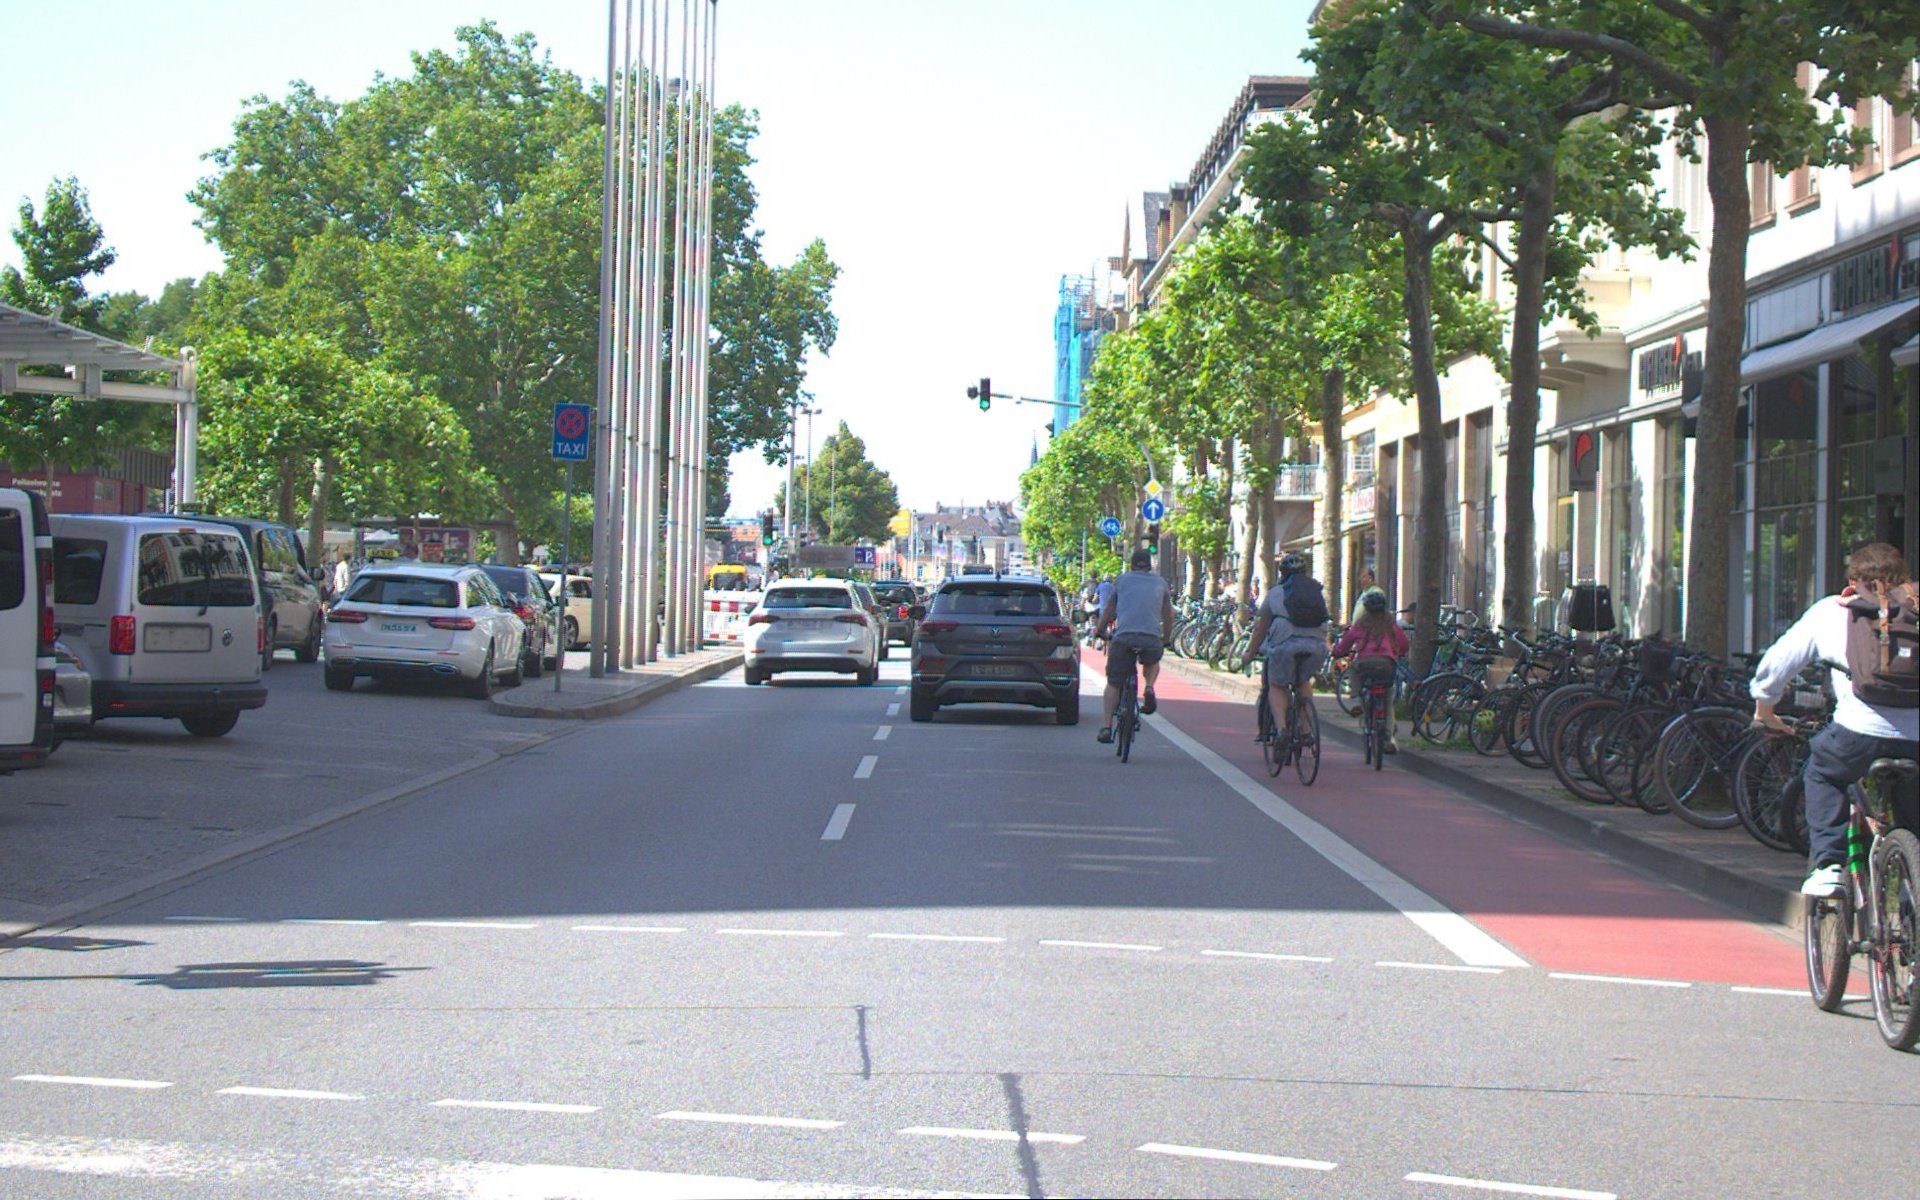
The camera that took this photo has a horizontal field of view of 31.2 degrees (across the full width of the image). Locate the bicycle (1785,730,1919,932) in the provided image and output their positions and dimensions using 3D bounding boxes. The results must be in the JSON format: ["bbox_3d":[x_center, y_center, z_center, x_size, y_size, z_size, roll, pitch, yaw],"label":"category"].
[{"bbox_3d":[4.983,1.206,16.384,1.851,0.395,1.019,9,-35,4],"label":"bicycle"}]

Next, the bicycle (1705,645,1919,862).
[{"bbox_3d":[4.983,0.820,18.492,1.840,1.123,0.666,1,-1,7],"label":"bicycle"}]

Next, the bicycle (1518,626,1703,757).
[{"bbox_3d":[5.698,0.802,30.062,1.840,1.123,0.448,2,-1,-37],"label":"bicycle"}]

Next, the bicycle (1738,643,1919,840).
[{"bbox_3d":[5.579,0.829,20.231,1.840,1.123,0.666,1,-1,2],"label":"bicycle"}]

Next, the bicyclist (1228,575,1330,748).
[{"bbox_3d":[2.735,0.524,29.549,0.698,1.436,0.791,3,0,-3],"label":"bicyclist"}]

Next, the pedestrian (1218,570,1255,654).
[{"bbox_3d":[5.342,0.233,66.495,0.615,1.607,0.745,2,0,1],"label":"pedestrian"}]

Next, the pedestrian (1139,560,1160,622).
[{"bbox_3d":[5.036,-0.237,91.236,0.549,1.625,0.589,0,-1,3],"label":"pedestrian"}]

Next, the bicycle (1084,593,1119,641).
[{"bbox_3d":[3.042,0.370,74.161,0.647,0.994,2.031,1,0,0],"label":"bicycle"}]

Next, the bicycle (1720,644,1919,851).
[{"bbox_3d":[5.255,0.824,19.263,1.840,1.123,0.666,1,-1,2],"label":"bicycle"}]

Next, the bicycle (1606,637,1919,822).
[{"bbox_3d":[5.095,0.813,21.887,1.840,1.123,0.666,1,-1,2],"label":"bicycle"}]

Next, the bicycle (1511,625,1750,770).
[{"bbox_3d":[5.409,0.785,27.786,1.840,1.123,0.448,1,-1,3],"label":"bicycle"}]

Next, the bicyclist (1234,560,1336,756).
[{"bbox_3d":[2.518,0.444,26.720,0.630,1.476,1.198,1,0,-1],"label":"bicyclist"}]

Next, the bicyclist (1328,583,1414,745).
[{"bbox_3d":[3.507,0.541,29.394,0.600,1.353,0.721,0,1,-3],"label":"bicyclist"}]

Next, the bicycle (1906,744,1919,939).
[{"bbox_3d":[4.826,0.850,13.652,1.855,1.184,0.715,6,4,38],"label":"bicycle"}]

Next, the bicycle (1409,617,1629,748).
[{"bbox_3d":[5.270,0.773,32.444,1.839,1.123,0.766,4,-1,-13],"label":"bicycle"}]

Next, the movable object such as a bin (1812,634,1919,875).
[{"bbox_3d":[5.361,0.825,17.622,1.852,1.185,0.652,3,1,15],"label":"movable object such as a bin"}]

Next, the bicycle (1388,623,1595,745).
[{"bbox_3d":[5.129,0.809,33.187,1.839,1.089,0.565,3,0,-10],"label":"bicycle"}]

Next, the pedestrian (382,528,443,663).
[{"bbox_3d":[-7.323,-0.060,45.963,0.532,1.786,0.538,2,0,40],"label":"pedestrian"}]

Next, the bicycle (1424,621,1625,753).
[{"bbox_3d":[4.951,0.761,30.119,1.840,1.123,0.594,2,-1,-36],"label":"bicycle"}]

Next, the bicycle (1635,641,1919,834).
[{"bbox_3d":[5.077,0.825,20.840,1.840,1.123,0.643,1,-1,2],"label":"bicycle"}]

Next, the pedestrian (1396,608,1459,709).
[{"bbox_3d":[5.808,0.724,42.761,0.639,1.229,0.597,2,-1,-2],"label":"pedestrian"}]

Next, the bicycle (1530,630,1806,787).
[{"bbox_3d":[5.315,0.804,25.813,1.987,1.123,0.761,1,-1,13],"label":"bicycle"}]

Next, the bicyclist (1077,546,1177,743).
[{"bbox_3d":[1.406,0.366,29.107,0.774,1.629,0.851,1,0,0],"label":"bicyclist"}]

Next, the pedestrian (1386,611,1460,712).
[{"bbox_3d":[5.838,0.776,43.363,0.787,1.239,0.576,2,-1,-2],"label":"pedestrian"}]

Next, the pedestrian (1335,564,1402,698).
[{"bbox_3d":[5.363,0.399,45.154,0.639,1.683,0.843,4,1,-2],"label":"pedestrian"}]

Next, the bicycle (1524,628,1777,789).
[{"bbox_3d":[5.328,0.826,26.526,1.841,1.123,0.530,3,0,13],"label":"bicycle"}]

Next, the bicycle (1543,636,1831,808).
[{"bbox_3d":[4.934,0.825,23.395,1.840,1.123,0.530,1,-1,2],"label":"bicycle"}]

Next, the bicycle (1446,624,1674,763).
[{"bbox_3d":[5.070,0.780,29.089,1.843,1.123,0.447,1,-1,28],"label":"bicycle"}]

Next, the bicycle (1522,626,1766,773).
[{"bbox_3d":[5.428,0.787,27.326,1.840,1.123,0.448,1,-1,3],"label":"bicycle"}]

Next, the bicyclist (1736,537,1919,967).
[{"bbox_3d":[3.254,0.522,12.146,0.698,1.441,0.961,3,0,-3],"label":"bicyclist"}]

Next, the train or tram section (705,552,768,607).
[{"bbox_3d":[-14.387,-1.311,222.226,2.613,3.337,11.000,2,0,3],"label":"train or tram section"}]

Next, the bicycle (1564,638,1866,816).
[{"bbox_3d":[4.968,0.826,22.700,1.840,1.123,0.666,1,-1,2],"label":"bicycle"}]

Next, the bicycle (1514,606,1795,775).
[{"bbox_3d":[4.916,0.632,24.401,1.840,1.123,0.679,2,0,2],"label":"bicycle"}]

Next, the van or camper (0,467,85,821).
[{"bbox_3d":[-7.528,0.132,20.597,4.656,2.007,1.995,4,1,39],"label":"van or camper"}]

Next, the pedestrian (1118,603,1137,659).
[{"bbox_3d":[4.581,0.856,93.900,0.523,1.516,0.641,0,-1,3],"label":"pedestrian"}]

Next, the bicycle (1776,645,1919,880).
[{"bbox_3d":[5.059,0.843,17.183,1.841,1.123,0.345,3,1,15],"label":"bicycle"}]

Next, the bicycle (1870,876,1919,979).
[{"bbox_3d":[5.214,1.355,15.582,1.136,0.432,1.856,-10,-4,-26],"label":"bicycle"}]

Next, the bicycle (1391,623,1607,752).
[{"bbox_3d":[4.925,0.795,31.474,1.840,1.089,0.564,3,0,0],"label":"bicycle"}]
